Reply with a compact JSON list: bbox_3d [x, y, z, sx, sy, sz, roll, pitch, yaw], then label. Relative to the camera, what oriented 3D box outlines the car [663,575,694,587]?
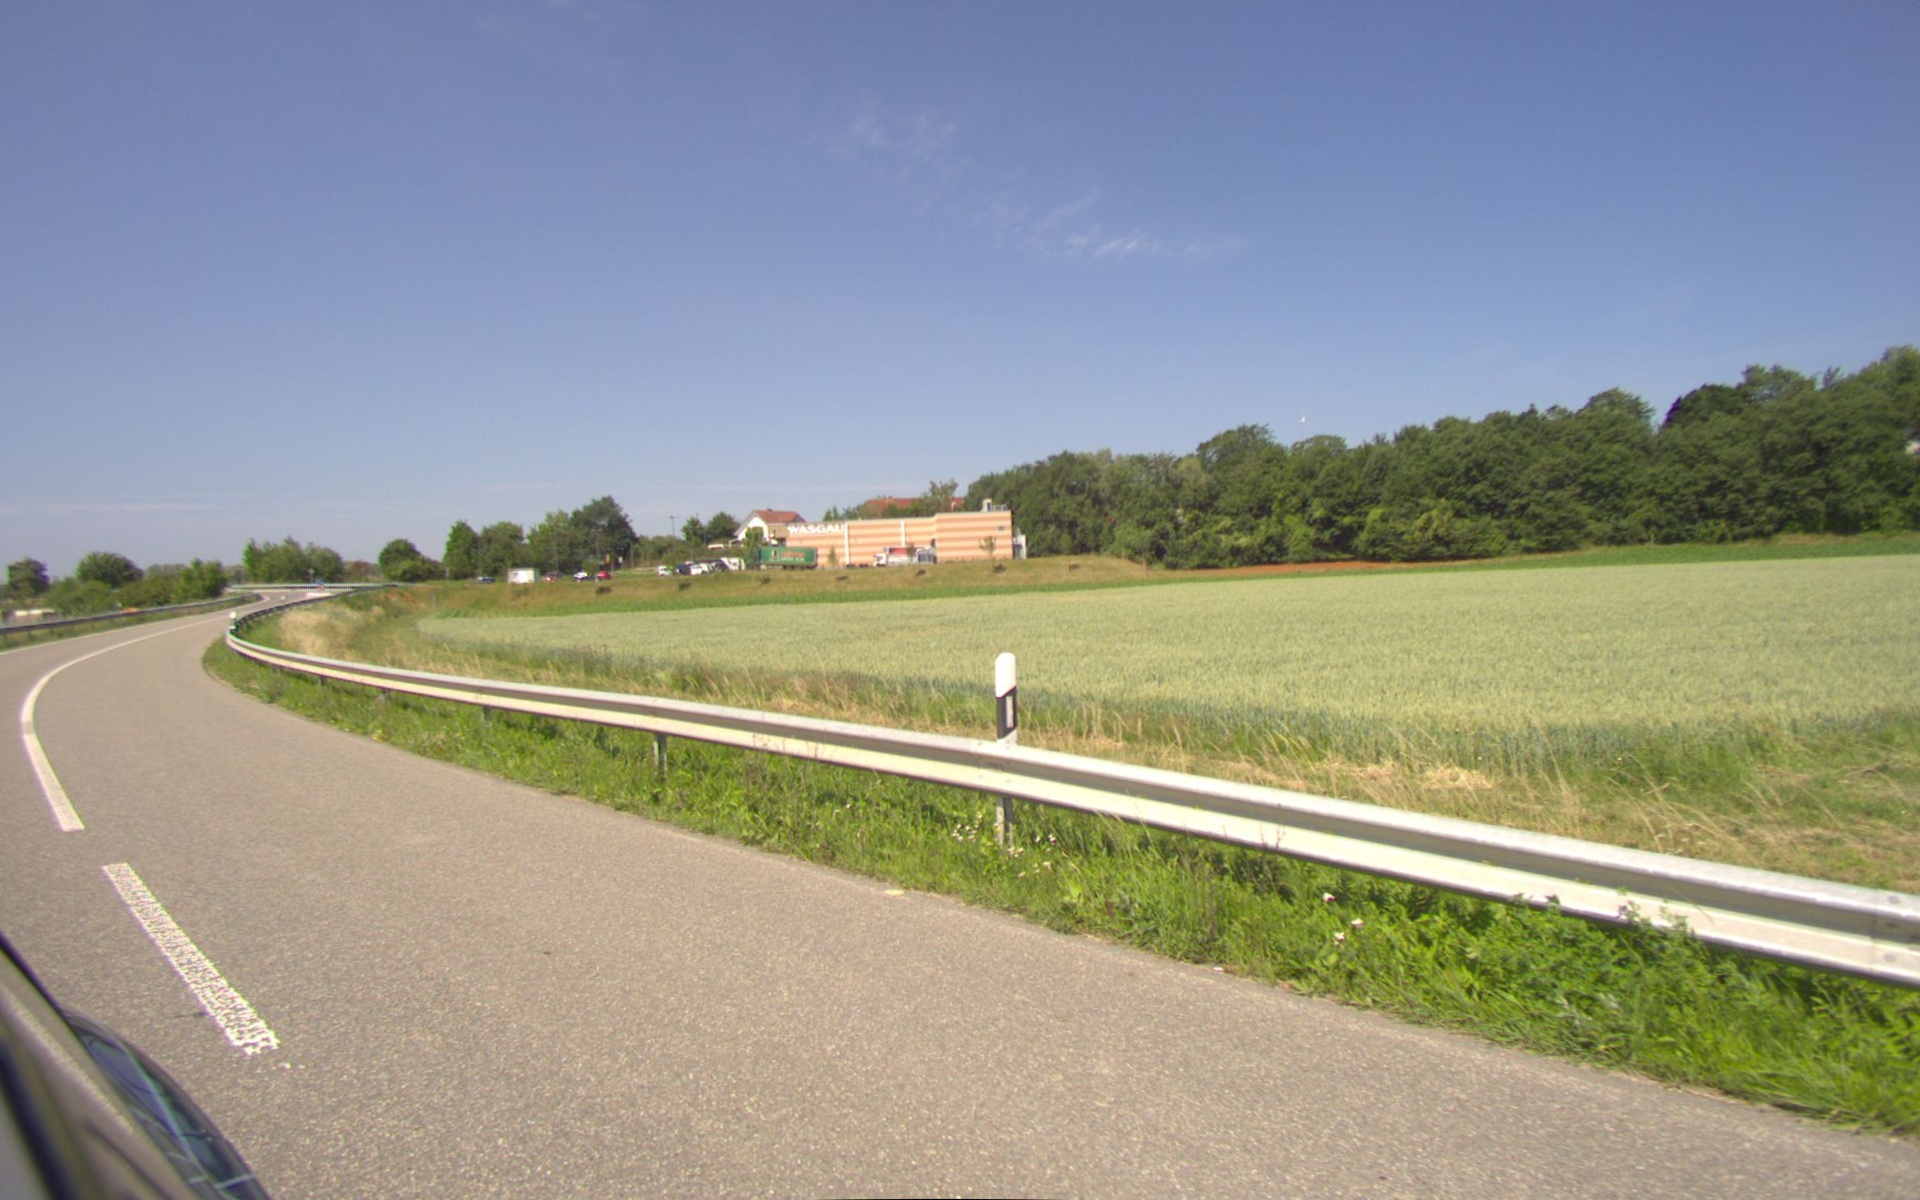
[{"bbox_3d":[-43.781,-2.955,157.471,4.267,1.609,2.003,-3,4,-6],"label":"car"}]

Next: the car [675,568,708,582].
[{"bbox_3d":[-39.562,-3.682,149.282,4.268,1.716,2.003,-3,4,-5],"label":"car"}]

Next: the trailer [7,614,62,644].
[{"bbox_3d":[-94.740,2.951,103.656,3.367,2.825,2.169,-3,2,-8],"label":"trailer"}]

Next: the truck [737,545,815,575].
[{"bbox_3d":[-24.666,-5.405,136.166,9.804,3.502,2.879,-3,4,1],"label":"truck"}]

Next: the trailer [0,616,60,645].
[{"bbox_3d":[-92.450,3.033,100.613,4.038,2.408,2.006,-5,2,2],"label":"trailer"}]

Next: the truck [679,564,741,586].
[{"bbox_3d":[-45.418,-4.594,184.112,10.538,3.214,2.455,-4,4,-19],"label":"truck"}]

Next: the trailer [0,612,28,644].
[{"bbox_3d":[-86.996,2.614,90.391,5.109,2.708,2.211,-3,1,-5],"label":"trailer"}]

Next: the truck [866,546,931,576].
[{"bbox_3d":[-8.498,-5.428,140.527,8.751,3.589,2.882,-3,4,-3],"label":"truck"}]
